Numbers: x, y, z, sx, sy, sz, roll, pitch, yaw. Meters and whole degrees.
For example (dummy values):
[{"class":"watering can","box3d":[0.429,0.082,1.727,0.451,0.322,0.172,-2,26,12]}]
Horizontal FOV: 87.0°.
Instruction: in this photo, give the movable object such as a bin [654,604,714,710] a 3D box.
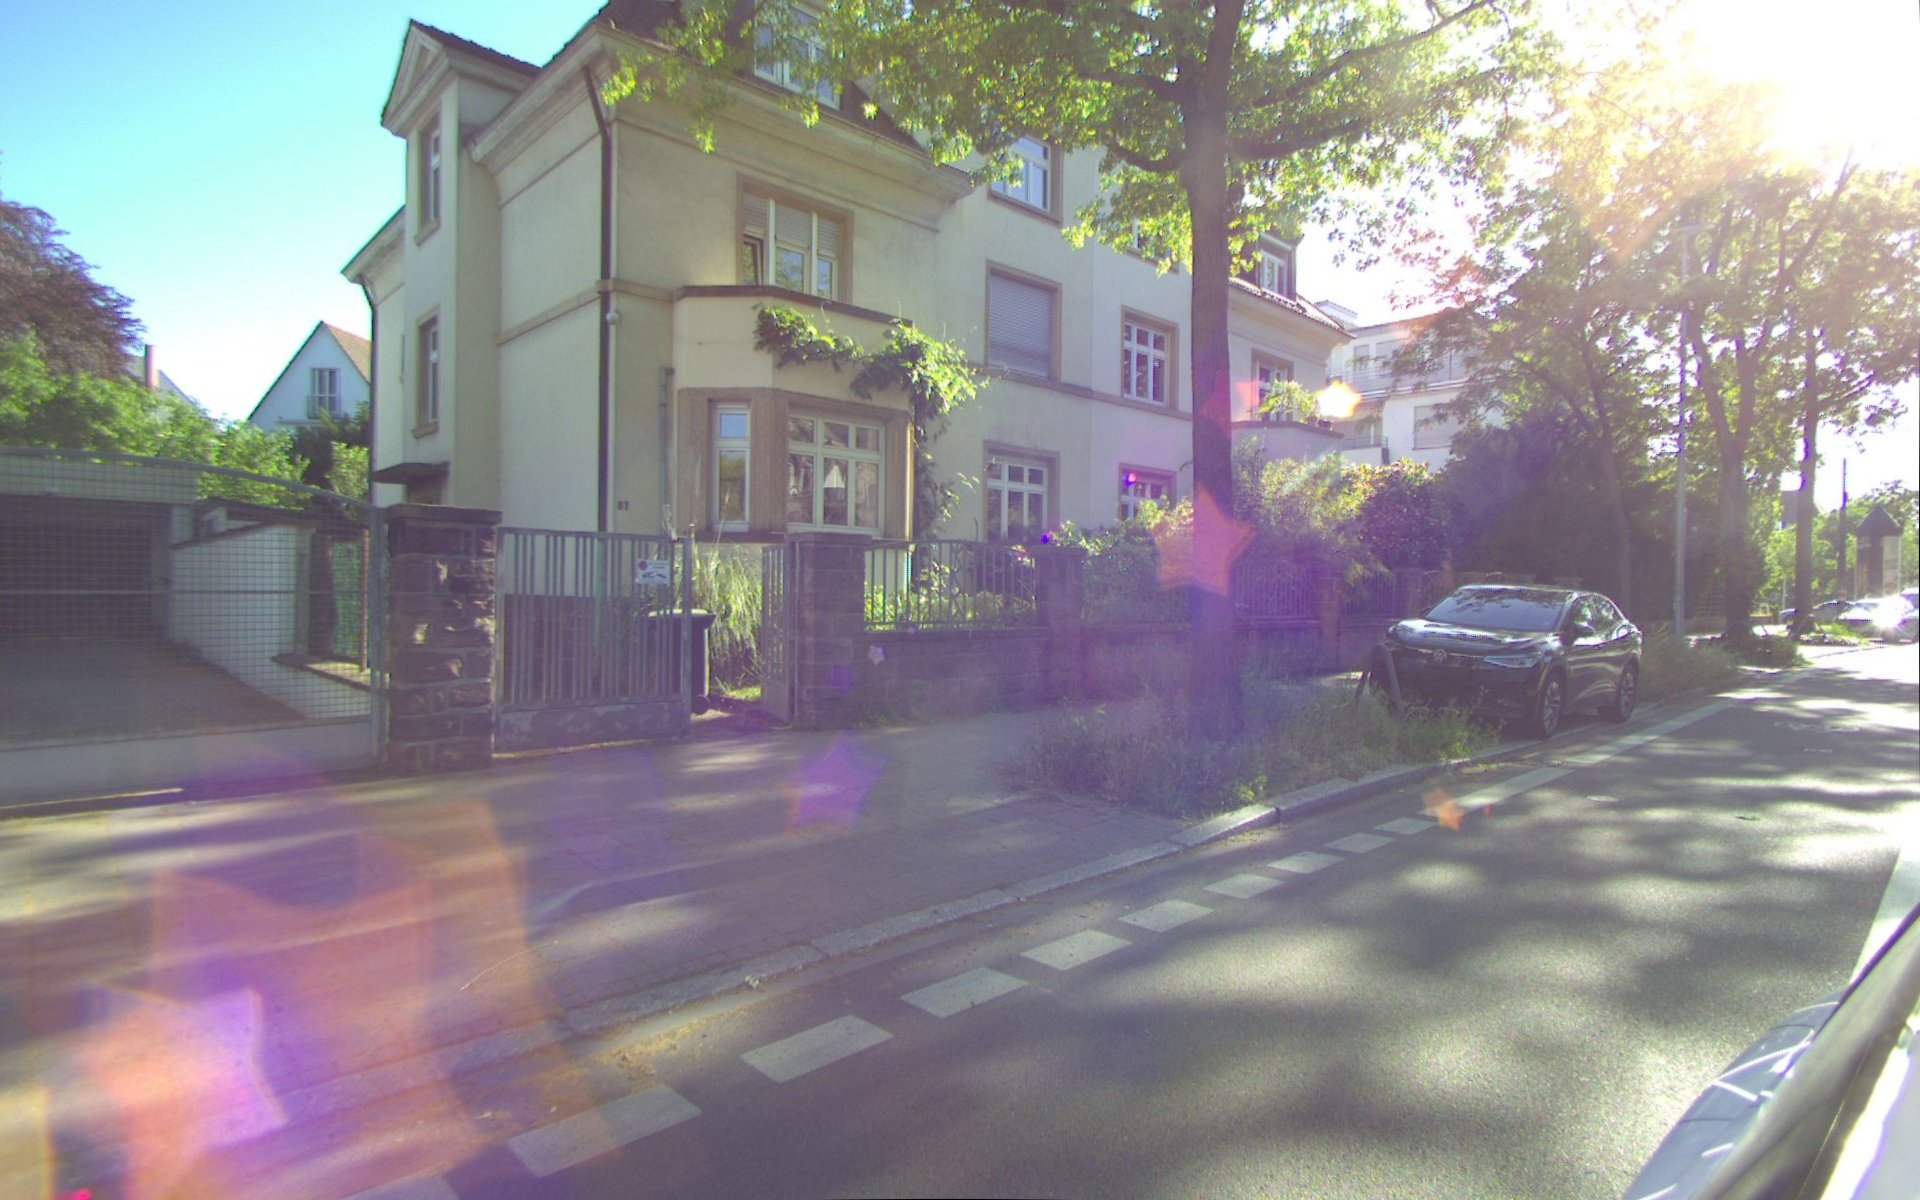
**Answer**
[{"class":"movable object such as a bin","box3d":[-2.921,0.585,10.675,0.551,1.062,0.676,0,0,-20]}]

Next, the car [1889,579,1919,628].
[{"class":"car","box3d":[36.673,0.126,37.860,4.580,1.808,1.903,0,1,-35]}]

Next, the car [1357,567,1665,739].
[{"class":"car","box3d":[6.711,0.495,12.140,4.186,1.619,1.917,0,4,-42]}]

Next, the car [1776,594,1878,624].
[{"class":"car","box3d":[46.067,0.455,53.844,1.784,1.459,3.990,0,1,-44]}]

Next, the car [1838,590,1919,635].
[{"class":"car","box3d":[31.513,0.380,34.278,4.181,1.427,1.901,0,1,-38]}]
